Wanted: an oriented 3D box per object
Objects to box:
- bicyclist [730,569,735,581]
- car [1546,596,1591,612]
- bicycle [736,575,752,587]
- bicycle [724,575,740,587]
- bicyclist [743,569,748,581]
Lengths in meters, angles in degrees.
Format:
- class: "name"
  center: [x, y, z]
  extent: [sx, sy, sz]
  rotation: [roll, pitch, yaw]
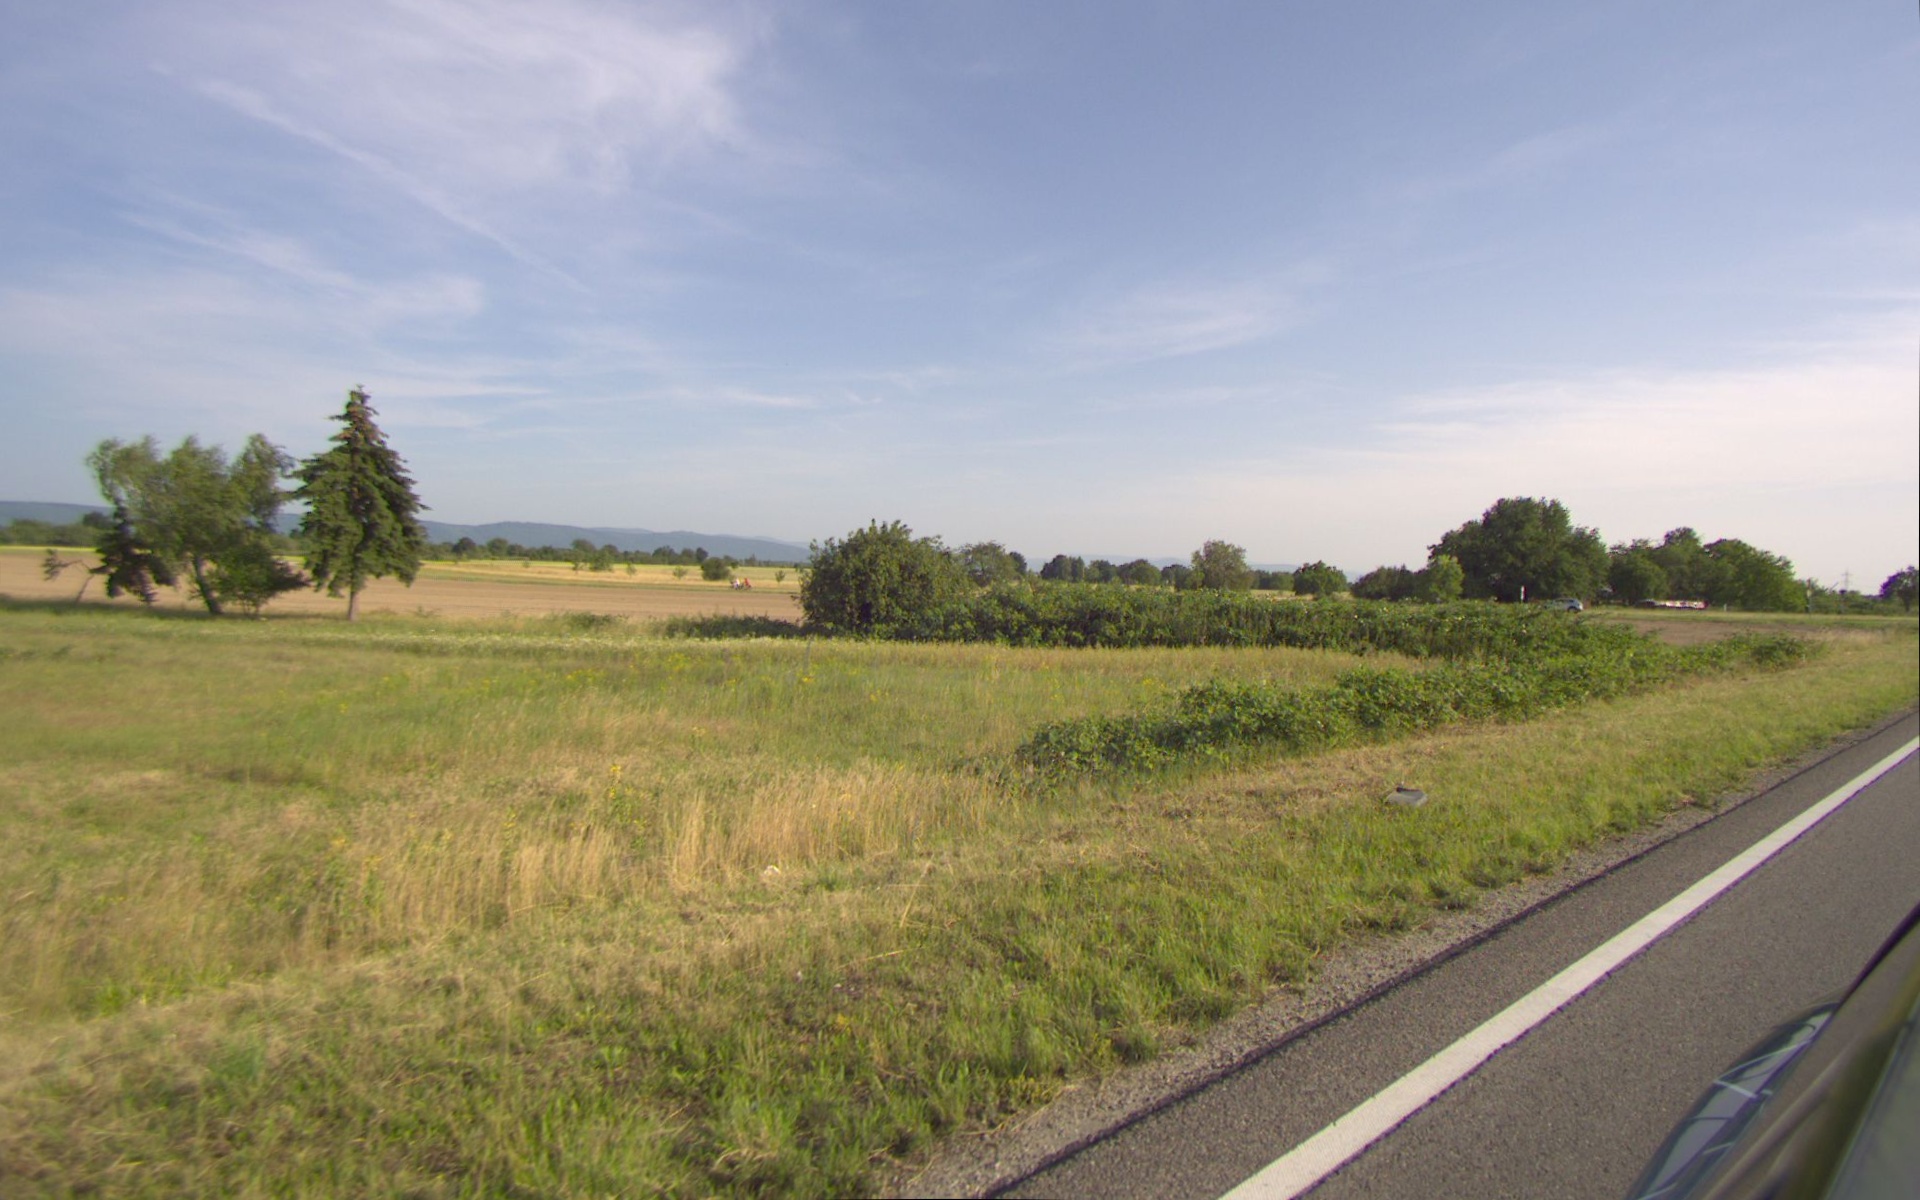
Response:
- class: "bicyclist"
  center: [-29.788, -3.285, 132.504]
  extent: [0.540, 1.617, 0.487]
  rotation: [0, 0, 2]
- class: "car"
  center: [63.697, 0.407, 105.920]
  extent: [3.974, 1.672, 1.975]
  rotation: [0, 0, 35]
- class: "bicycle"
  center: [-28.478, -2.550, 133.536]
  extent: [1.941, 1.550, 0.503]
  rotation: [0, 0, 3]
- class: "bicycle"
  center: [-29.882, -2.490, 132.502]
  extent: [1.941, 1.550, 0.503]
  rotation: [0, 0, 3]
- class: "bicyclist"
  center: [-28.330, -3.321, 133.531]
  extent: [0.540, 1.617, 0.487]
  rotation: [0, 0, 2]
